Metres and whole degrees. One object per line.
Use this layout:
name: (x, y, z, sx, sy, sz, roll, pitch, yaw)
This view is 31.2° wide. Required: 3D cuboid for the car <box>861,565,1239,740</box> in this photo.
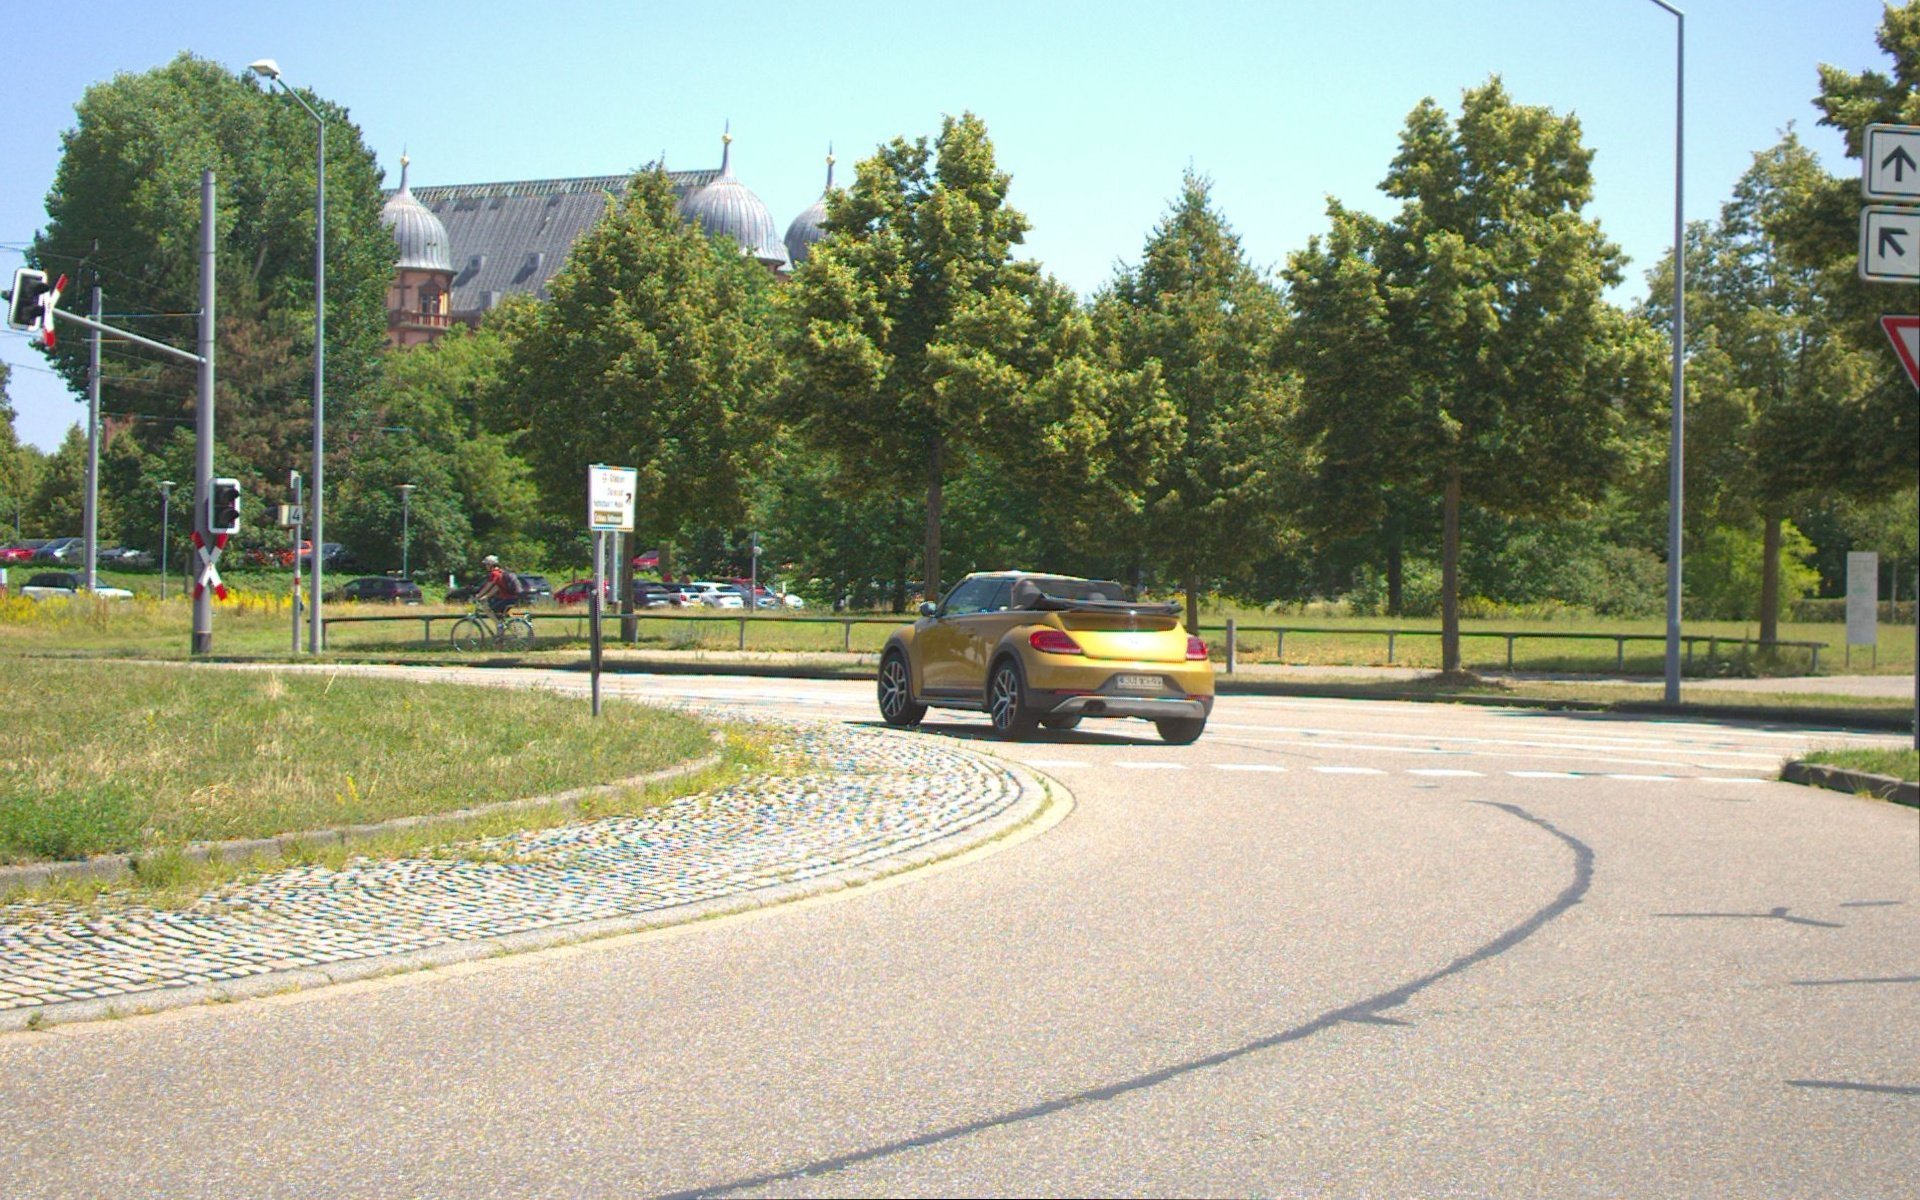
car: (0.718, 0.429, 30.091, 1.825, 1.398, 3.662, 2, 0, -25)
